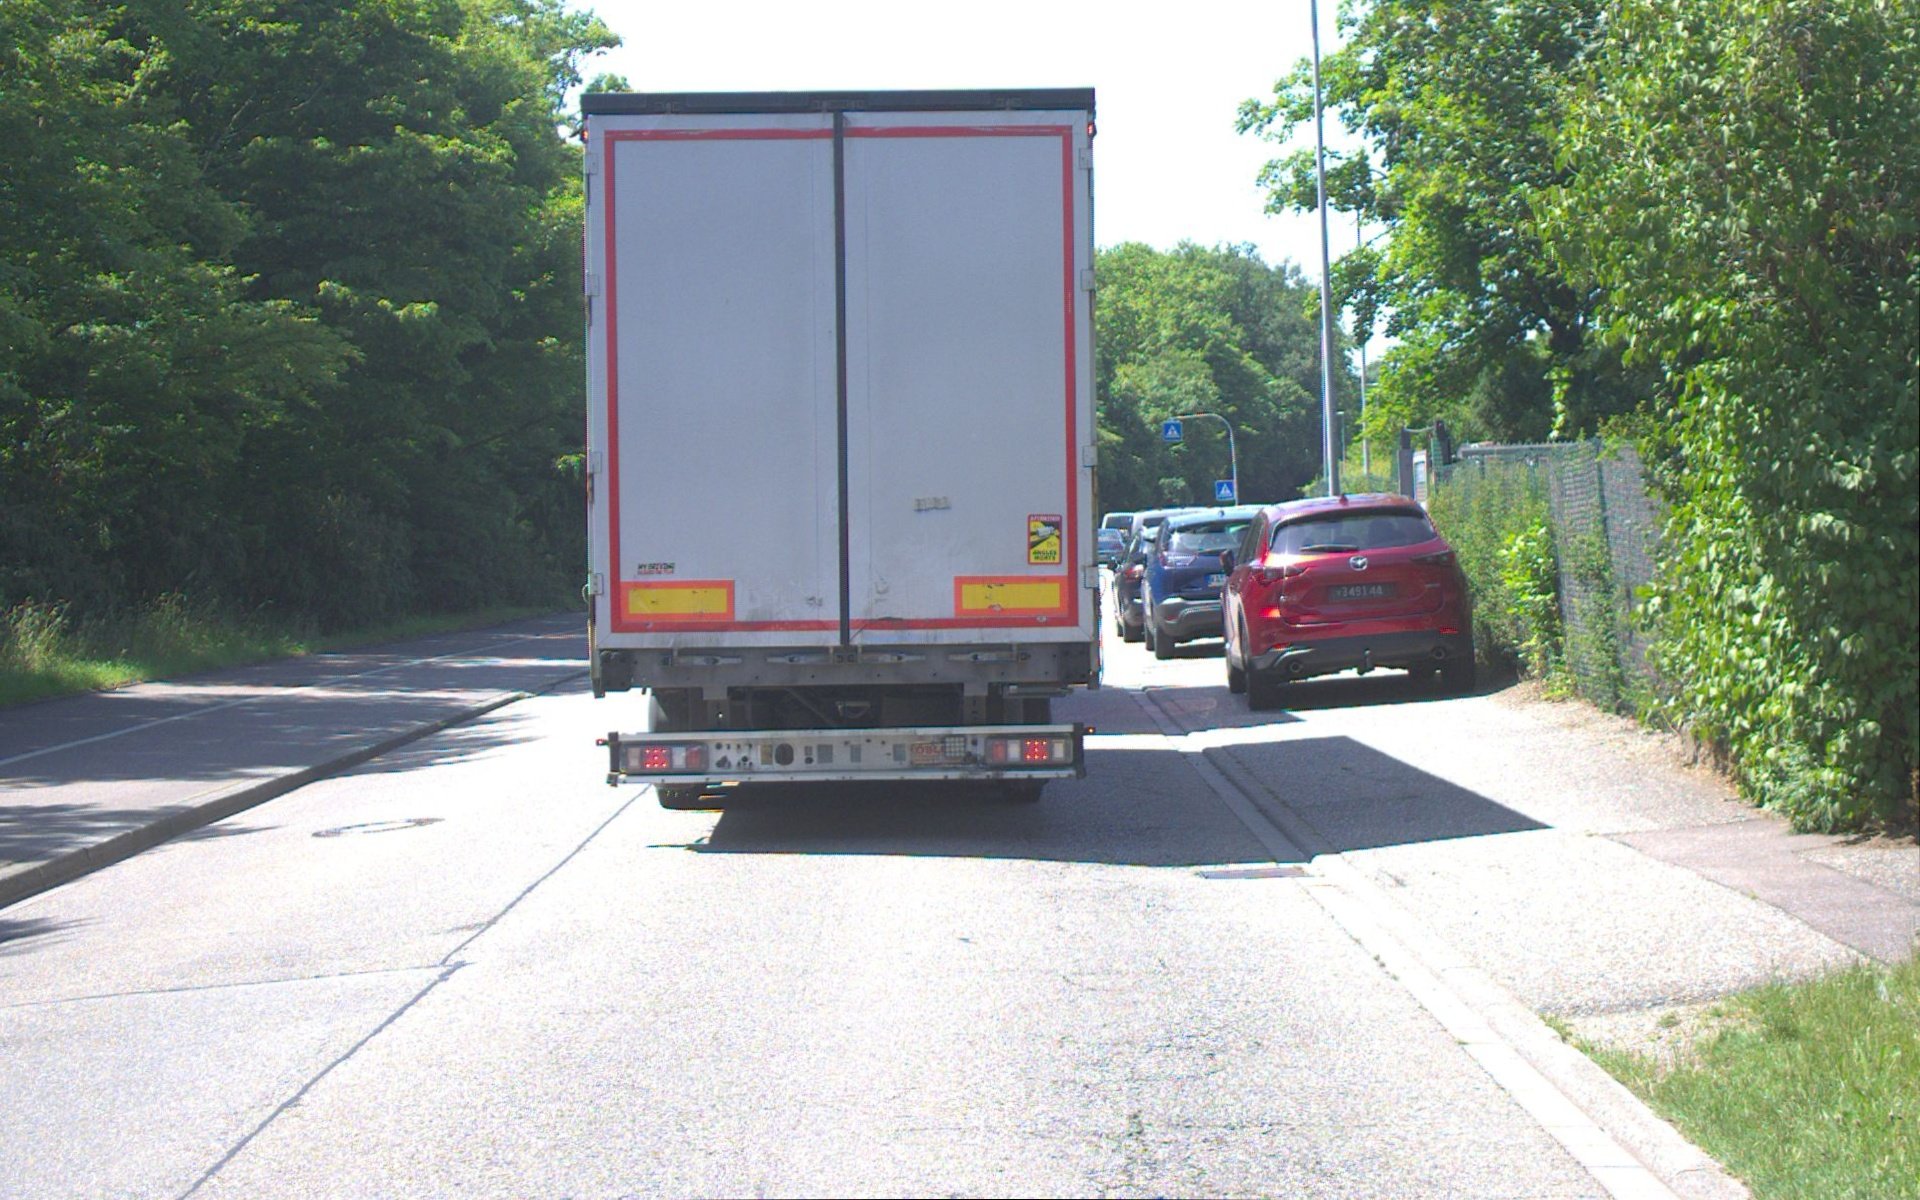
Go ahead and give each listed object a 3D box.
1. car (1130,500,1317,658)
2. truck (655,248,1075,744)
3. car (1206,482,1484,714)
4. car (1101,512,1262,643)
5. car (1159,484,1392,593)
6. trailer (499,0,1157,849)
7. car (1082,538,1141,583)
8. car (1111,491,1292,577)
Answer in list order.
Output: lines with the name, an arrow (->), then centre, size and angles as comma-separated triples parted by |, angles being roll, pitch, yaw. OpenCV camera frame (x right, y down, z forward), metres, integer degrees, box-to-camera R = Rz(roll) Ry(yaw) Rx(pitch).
car -> 2.958, -0.285, 39.366 | 1.789, 1.598, 4.130 | -3, 2, 1
truck -> -0.772, -0.863, 29.542 | 3.113, 3.712, 6.414 | -2, 1, -1
car -> 3.170, -0.071, 29.086 | 1.789, 1.652, 4.452 | -6, 1, 1
car -> 2.879, -0.336, 45.521 | 1.789, 1.476, 4.665 | -6, 1, 1
car -> 6.044, -1.183, 66.005 | 4.258, 1.692, 1.853 | -5, 1, 5
trailer -> -0.714, -0.983, 22.595 | 3.112, 4.088, 11.537 | -2, 1, -1
car -> 5.319, -1.391, 120.566 | 1.781, 1.481, 3.999 | -1, 1, 6
car -> 6.475, -1.773, 92.111 | 4.622, 1.842, 1.995 | -6, 1, 5
